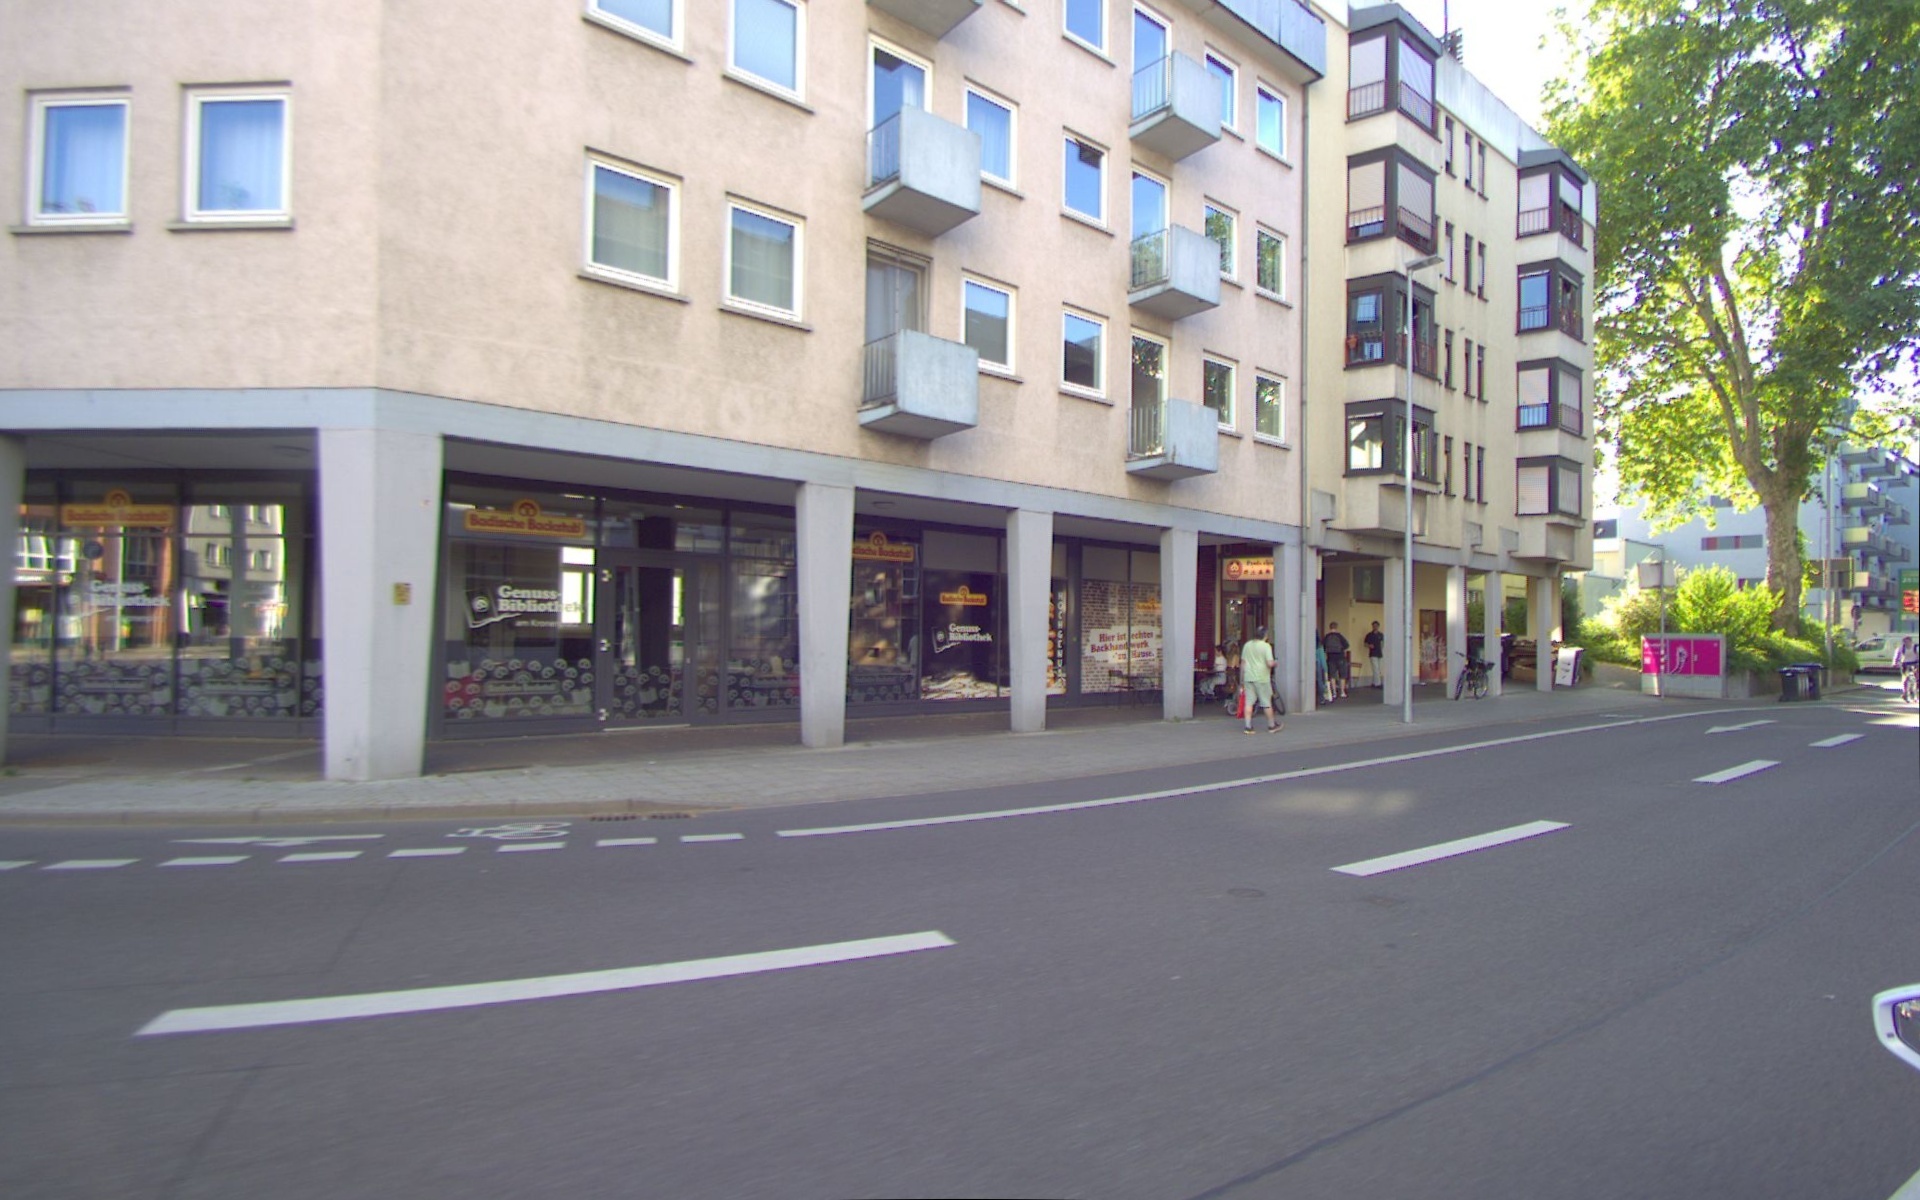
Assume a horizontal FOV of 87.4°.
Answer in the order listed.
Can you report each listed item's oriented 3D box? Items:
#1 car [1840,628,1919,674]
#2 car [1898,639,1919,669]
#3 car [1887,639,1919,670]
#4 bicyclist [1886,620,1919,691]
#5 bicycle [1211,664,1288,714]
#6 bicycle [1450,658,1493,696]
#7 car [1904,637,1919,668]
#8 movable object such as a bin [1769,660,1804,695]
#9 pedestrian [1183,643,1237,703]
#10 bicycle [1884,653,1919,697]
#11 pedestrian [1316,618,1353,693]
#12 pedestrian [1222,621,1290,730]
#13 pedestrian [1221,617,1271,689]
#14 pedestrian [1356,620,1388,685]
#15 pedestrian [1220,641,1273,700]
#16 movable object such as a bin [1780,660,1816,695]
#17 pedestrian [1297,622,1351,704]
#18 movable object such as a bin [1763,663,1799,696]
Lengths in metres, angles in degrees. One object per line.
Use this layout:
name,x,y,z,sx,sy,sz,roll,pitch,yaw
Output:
car,46.936,2.534,50.228,1.986,2.255,4.263,2,-2,-42
car,53.835,2.964,54.639,1.985,1.617,3.951,2,-2,-42
car,51.717,2.879,53.043,1.985,1.617,3.951,2,-2,-42
bicyclist,26.766,1.549,28.413,0.852,1.973,0.807,2,-2,-44
bicycle,5.711,1.738,19.784,1.602,0.896,0.629,2,-2,-38
bicycle,12.951,1.944,25.401,1.600,0.889,0.386,2,1,-42
car,55.777,2.967,56.349,1.985,1.766,3.951,2,-2,-42
movable object such as a bin,24.059,2.250,29.246,0.575,0.919,0.680,1,1,-40
pedestrian,5.585,1.607,22.426,0.847,1.282,0.825,2,-1,-39
bicycle,26.691,2.098,28.338,2.323,1.154,0.807,2,-2,-45
pedestrian,9.206,1.352,24.681,0.651,1.819,0.607,2,-1,-44
pedestrian,4.926,1.233,16.708,0.771,1.747,0.797,2,-1,-43
pedestrian,7.094,1.308,24.942,0.843,1.747,0.829,2,-1,-27
pedestrian,11.317,1.424,27.612,0.619,1.747,0.577,2,-1,-40
pedestrian,6.590,1.607,23.088,0.847,1.282,0.825,2,-1,-39
movable object such as a bin,24.924,2.294,29.877,0.591,0.978,0.697,1,1,-40
pedestrian,8.076,1.383,22.287,0.829,1.747,0.843,2,-1,-43
movable object such as a bin,23.583,2.266,28.846,0.575,0.863,0.680,1,1,-40
